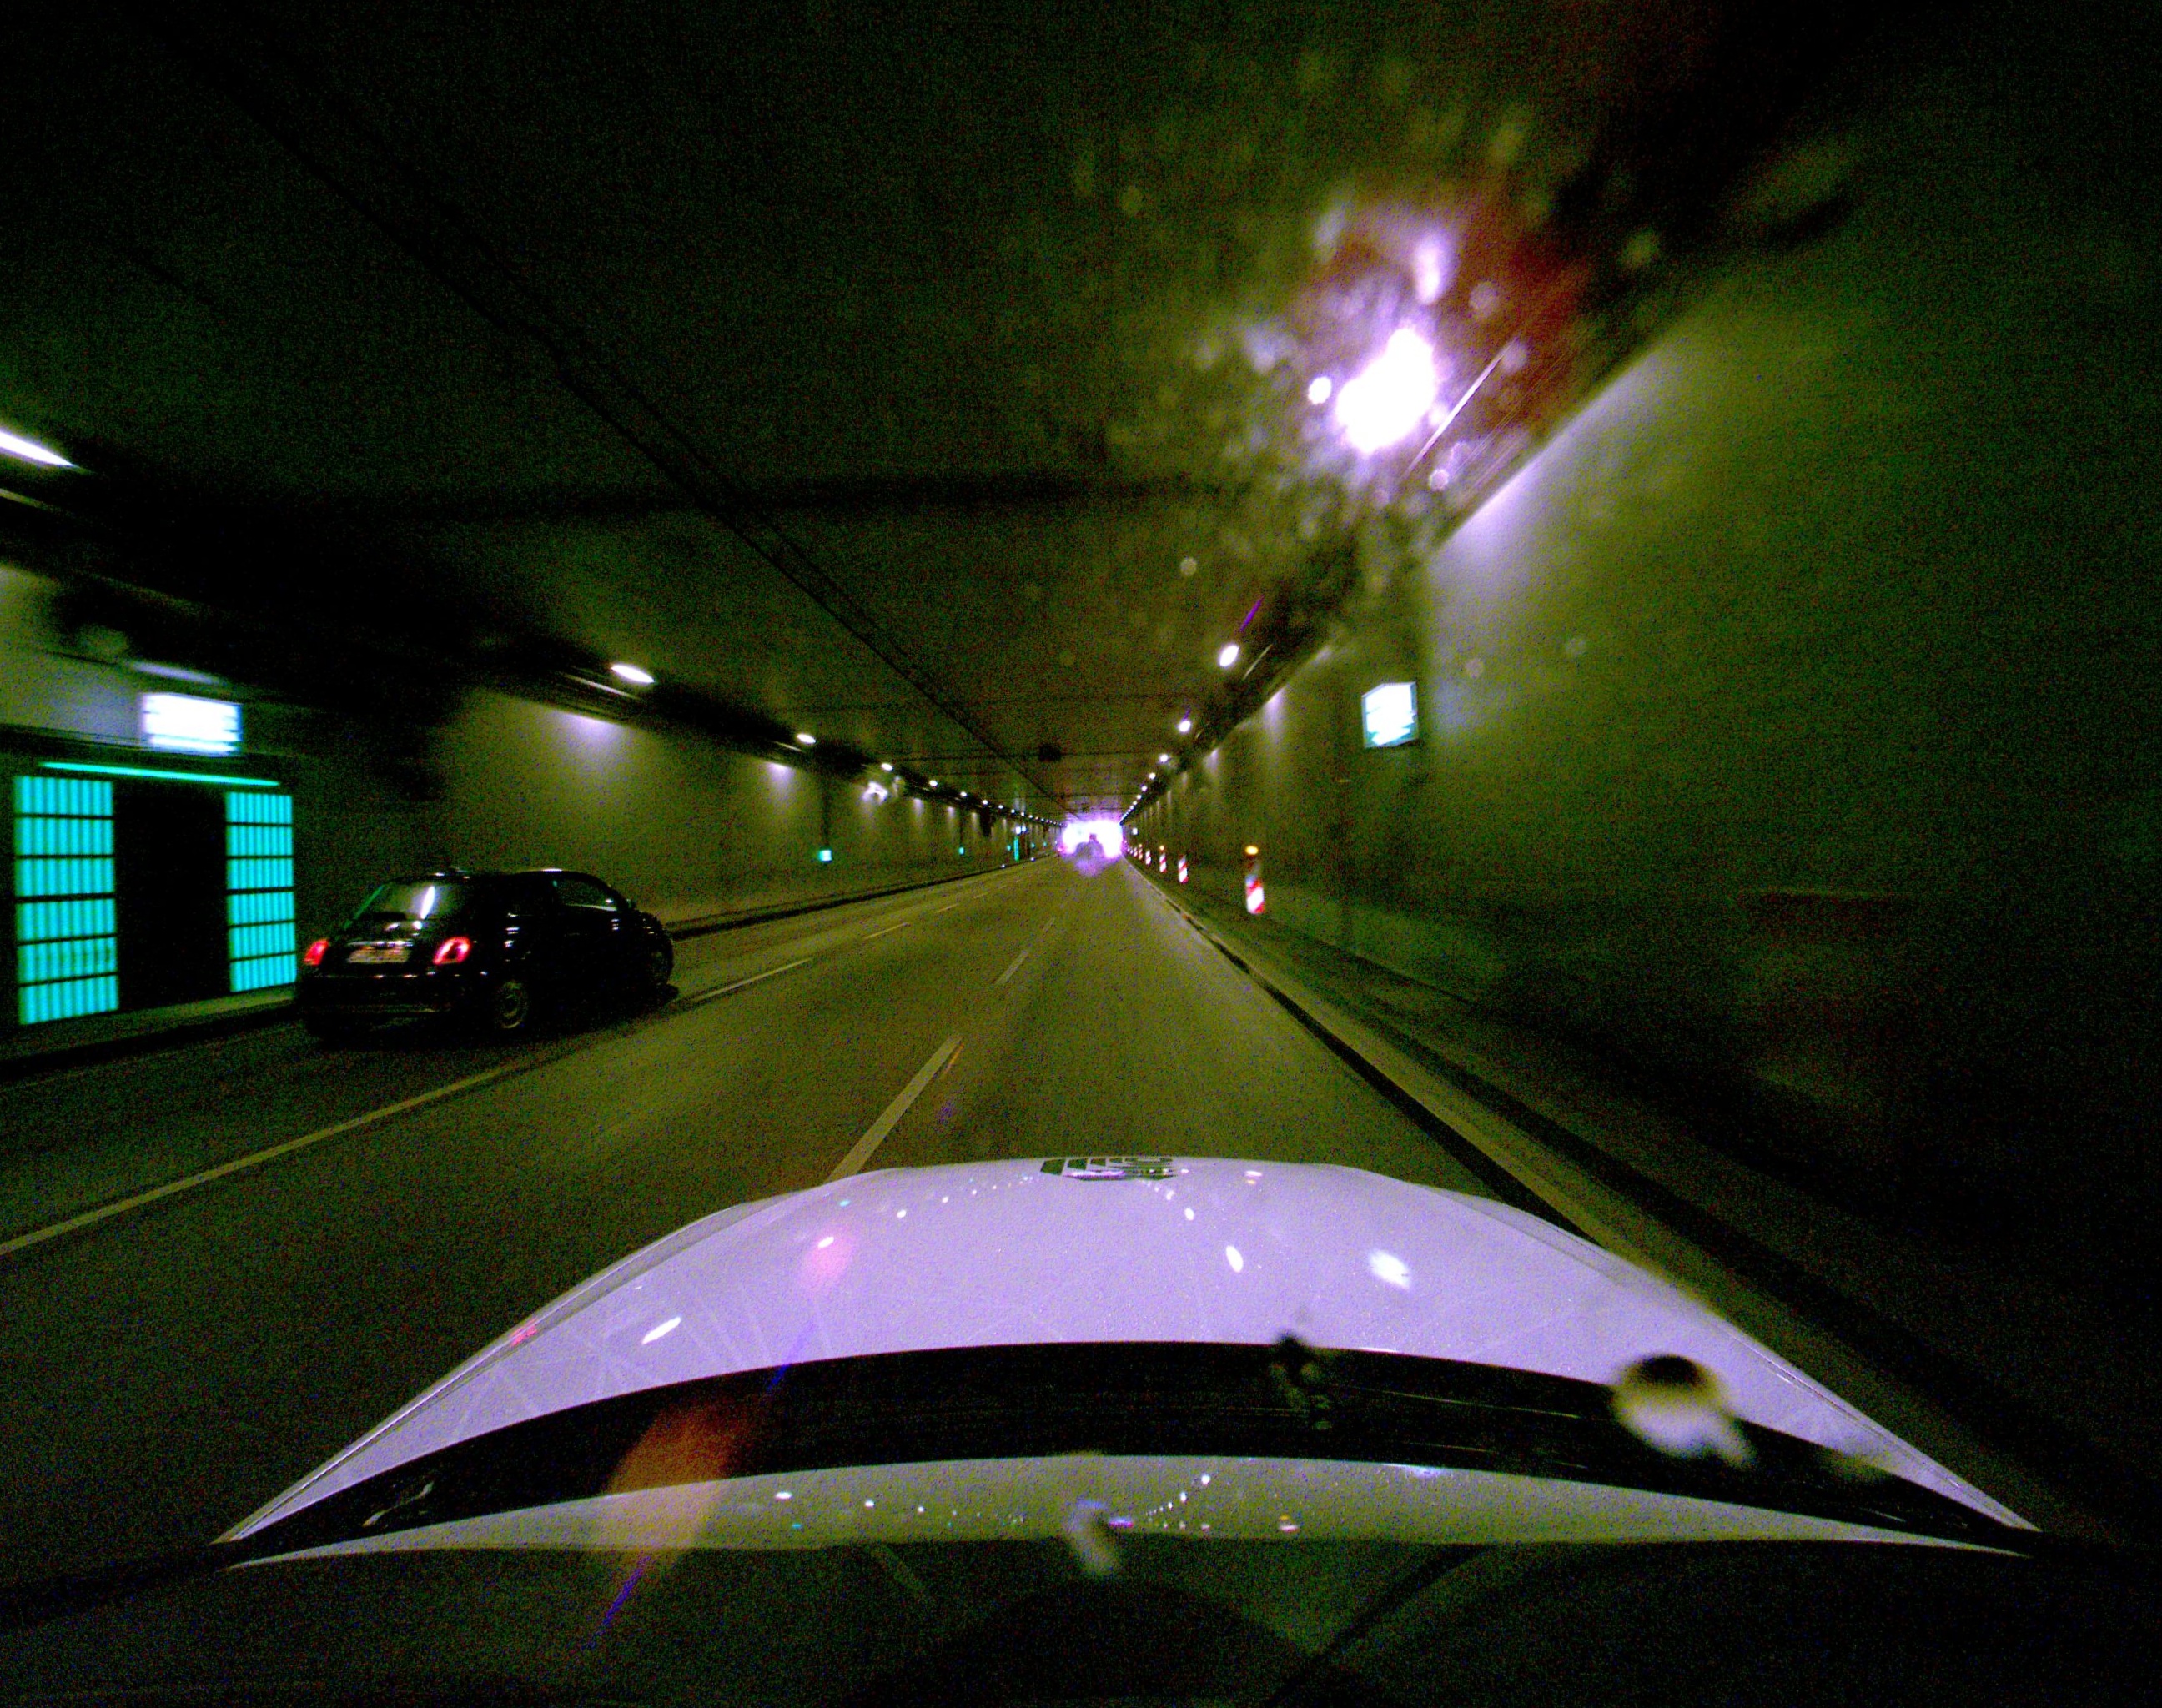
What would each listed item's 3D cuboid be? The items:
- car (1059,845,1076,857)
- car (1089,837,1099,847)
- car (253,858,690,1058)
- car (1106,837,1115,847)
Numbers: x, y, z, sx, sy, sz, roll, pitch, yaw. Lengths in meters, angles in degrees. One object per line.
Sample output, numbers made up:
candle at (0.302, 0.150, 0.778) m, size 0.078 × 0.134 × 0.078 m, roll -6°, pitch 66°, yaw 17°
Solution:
car at (-1.719, -0.355, 103.362) m, size 1.988 × 1.448 × 4.311 m, roll 0°, pitch 1°, yaw -2°
car at (2.635, -2.477, 169.203) m, size 1.986 × 2.013 × 4.002 m, roll -2°, pitch 0°, yaw 2°
car at (-5.661, 0.832, 8.207) m, size 1.606 × 1.454 × 3.574 m, roll -1°, pitch 1°, yaw 1°
car at (6.689, -2.727, 185.136) m, size 1.986 × 2.013 × 4.002 m, roll -2°, pitch 0°, yaw 2°
